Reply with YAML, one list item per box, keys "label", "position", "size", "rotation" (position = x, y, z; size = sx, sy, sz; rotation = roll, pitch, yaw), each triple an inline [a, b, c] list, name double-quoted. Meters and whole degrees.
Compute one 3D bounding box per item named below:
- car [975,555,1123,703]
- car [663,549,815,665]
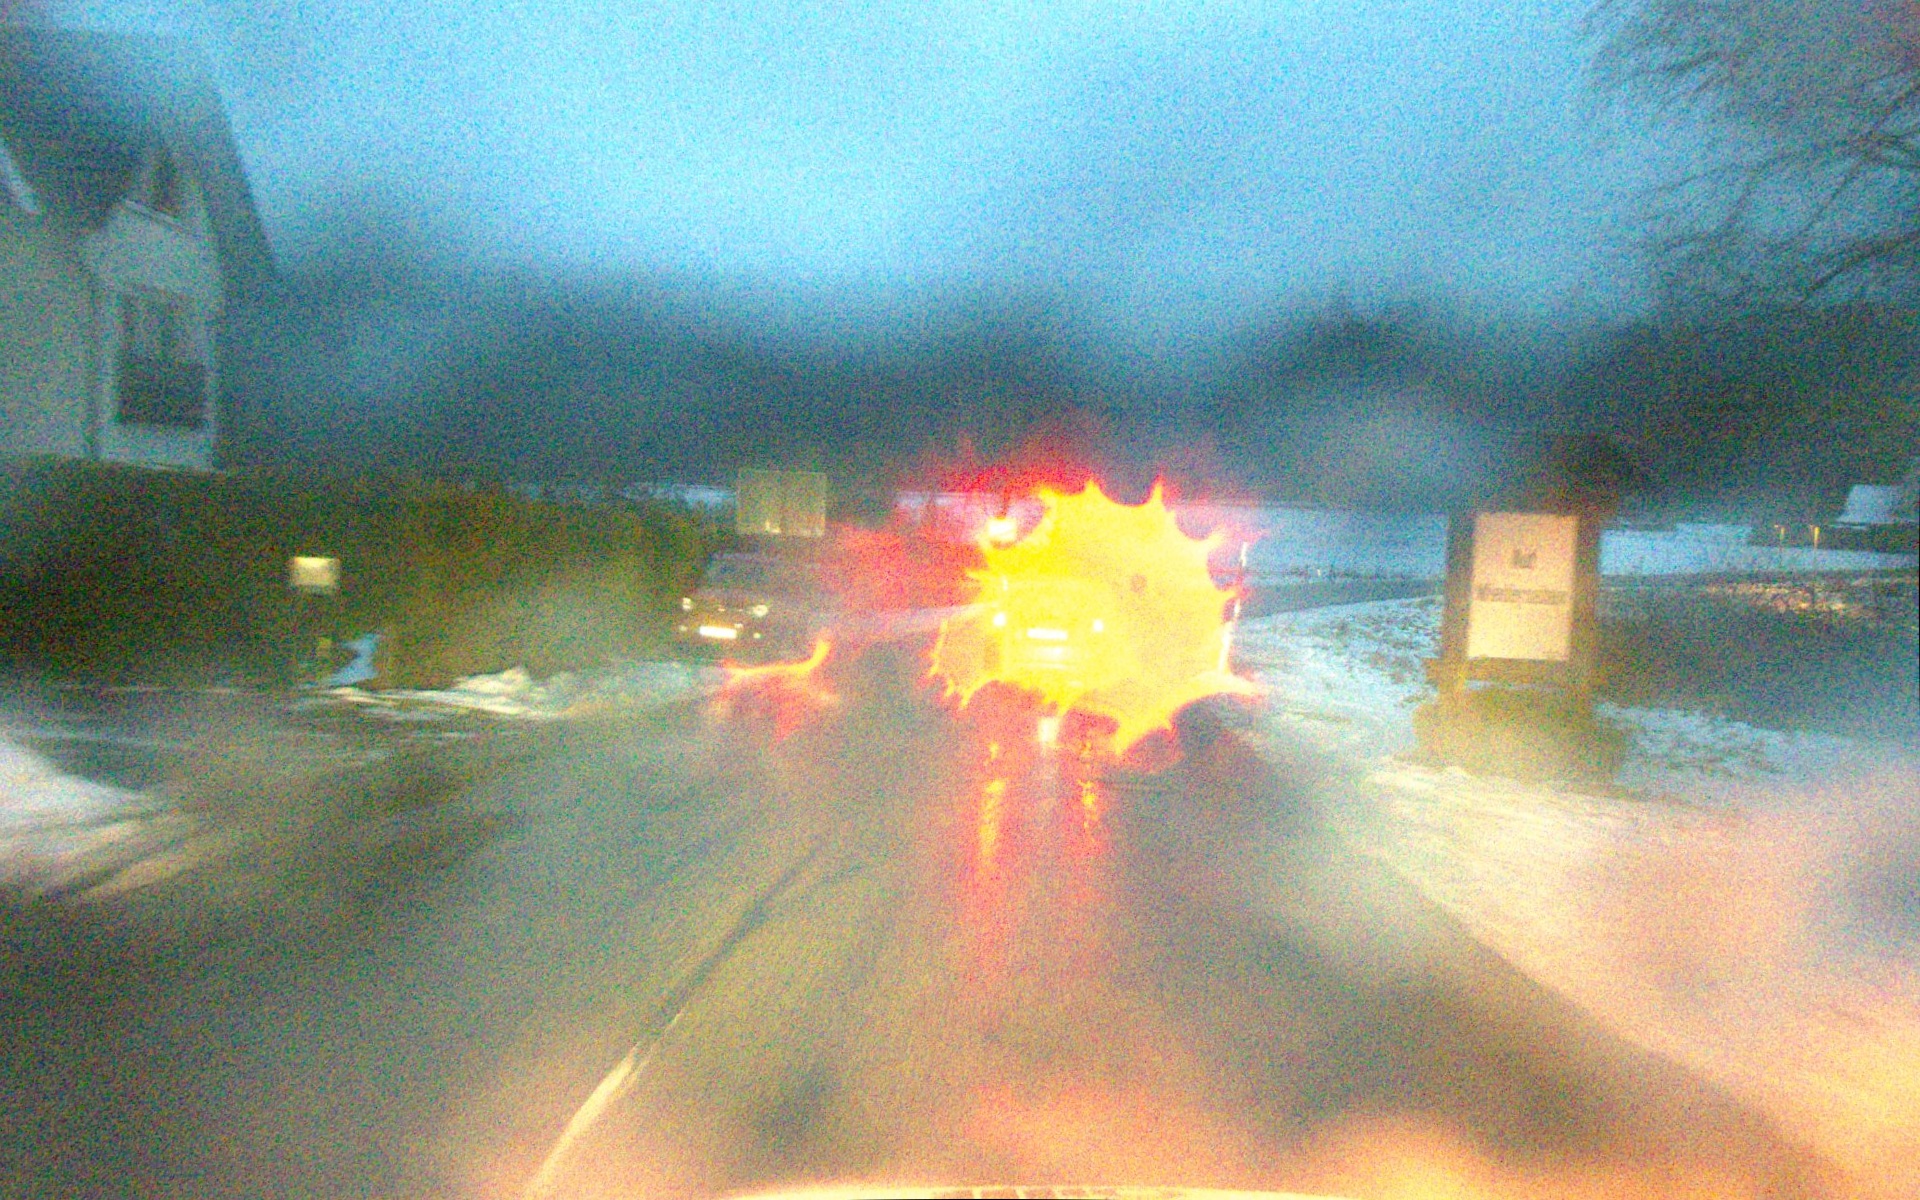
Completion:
- label: "car"
  position: [1.128, 0.350, 22.537]
  size: [1.785, 1.828, 3.577]
  rotation: [-1, 0, 0]
- label: "car"
  position: [-3.408, 0.048, 26.097]
  size: [1.682, 1.560, 3.519]
  rotation: [3, 3, 3]
